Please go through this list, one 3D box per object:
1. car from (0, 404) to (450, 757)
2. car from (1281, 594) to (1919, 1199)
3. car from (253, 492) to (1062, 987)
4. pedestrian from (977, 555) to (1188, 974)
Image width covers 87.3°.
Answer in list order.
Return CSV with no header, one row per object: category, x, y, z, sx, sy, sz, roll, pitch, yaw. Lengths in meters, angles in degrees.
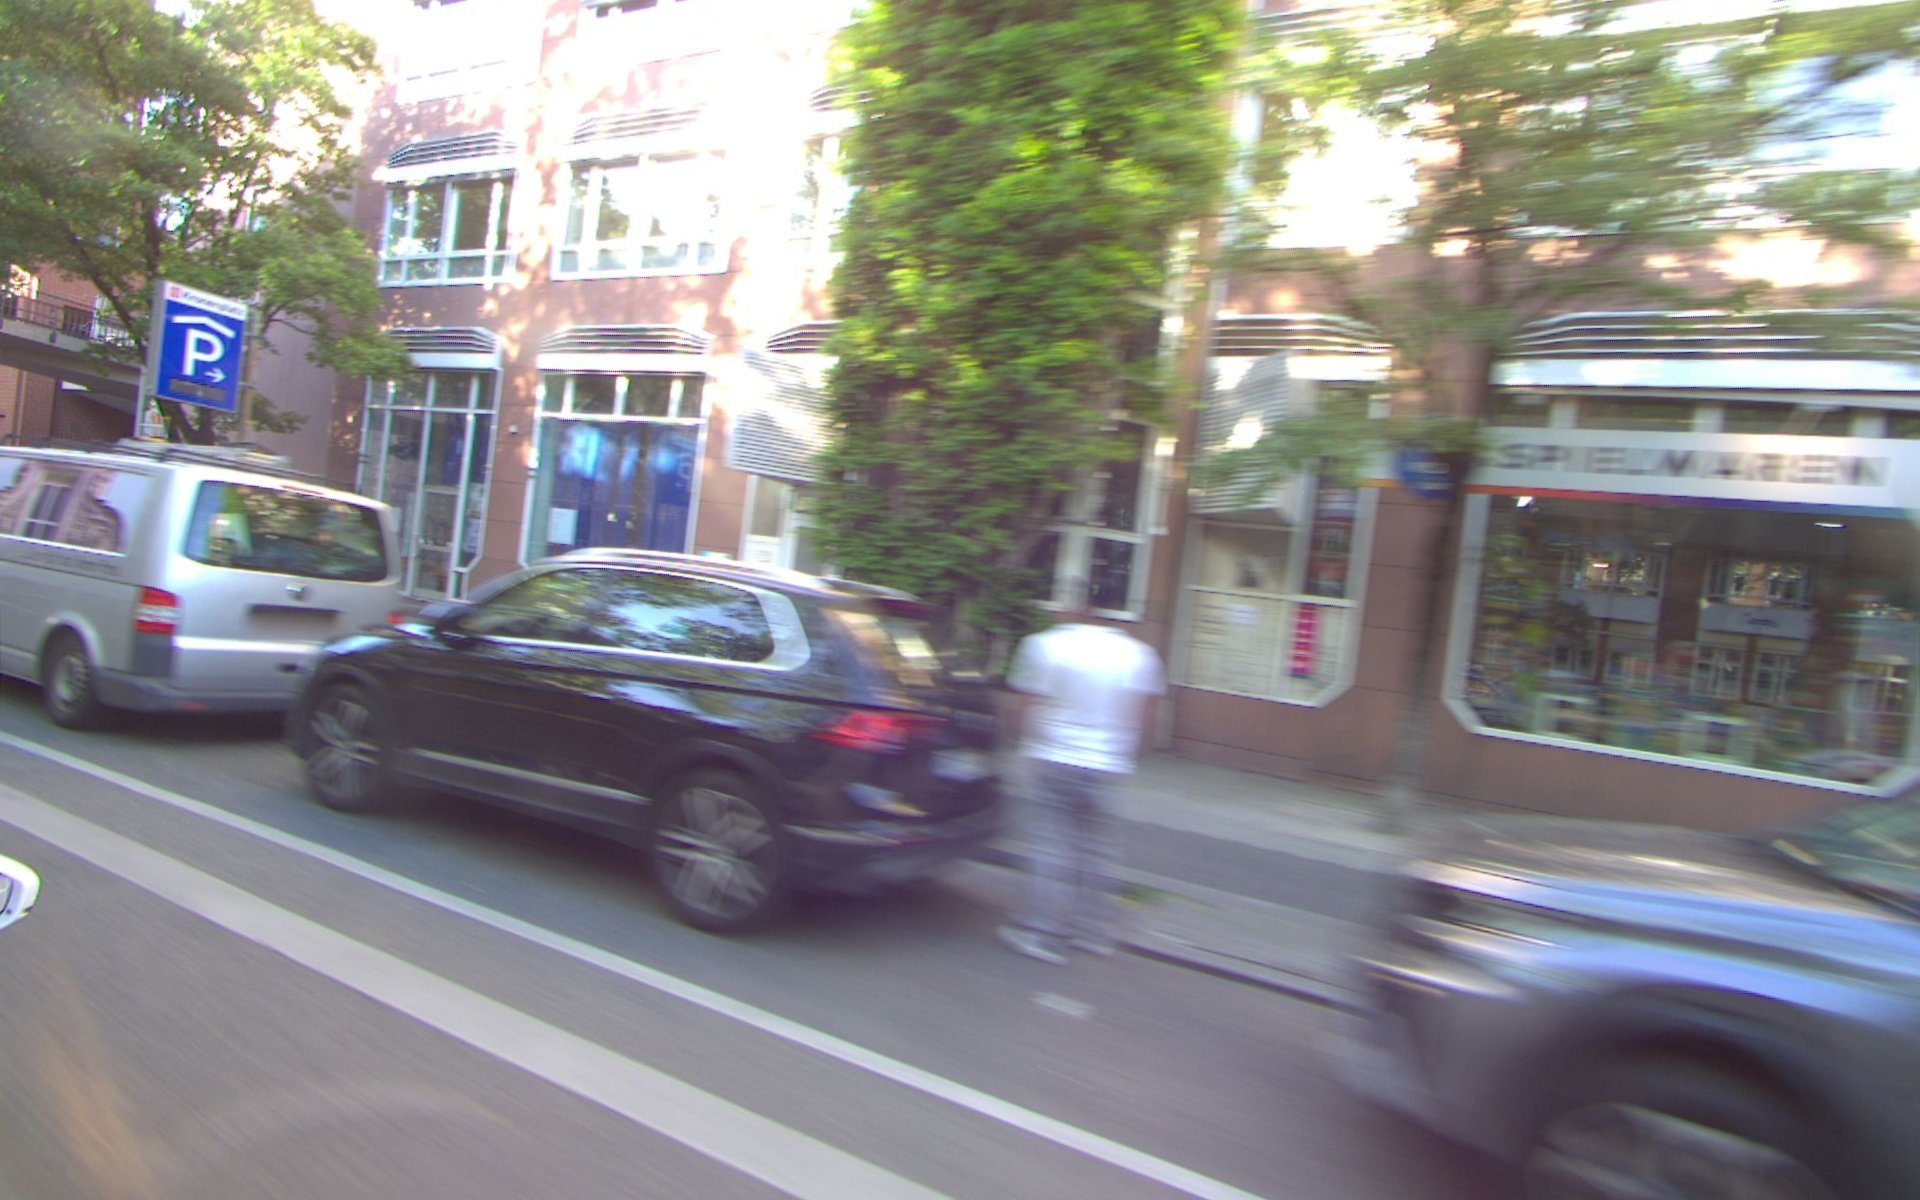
car,-6.773,-0.313,8.127,5.079,2.104,1.923,7,0,26
car,3.266,1.128,2.481,4.361,1.691,1.791,7,0,26
car,-1.758,0.508,5.675,4.125,1.691,1.791,7,0,26
pedestrian,0.558,0.747,4.879,0.651,1.835,0.715,7,1,-7
